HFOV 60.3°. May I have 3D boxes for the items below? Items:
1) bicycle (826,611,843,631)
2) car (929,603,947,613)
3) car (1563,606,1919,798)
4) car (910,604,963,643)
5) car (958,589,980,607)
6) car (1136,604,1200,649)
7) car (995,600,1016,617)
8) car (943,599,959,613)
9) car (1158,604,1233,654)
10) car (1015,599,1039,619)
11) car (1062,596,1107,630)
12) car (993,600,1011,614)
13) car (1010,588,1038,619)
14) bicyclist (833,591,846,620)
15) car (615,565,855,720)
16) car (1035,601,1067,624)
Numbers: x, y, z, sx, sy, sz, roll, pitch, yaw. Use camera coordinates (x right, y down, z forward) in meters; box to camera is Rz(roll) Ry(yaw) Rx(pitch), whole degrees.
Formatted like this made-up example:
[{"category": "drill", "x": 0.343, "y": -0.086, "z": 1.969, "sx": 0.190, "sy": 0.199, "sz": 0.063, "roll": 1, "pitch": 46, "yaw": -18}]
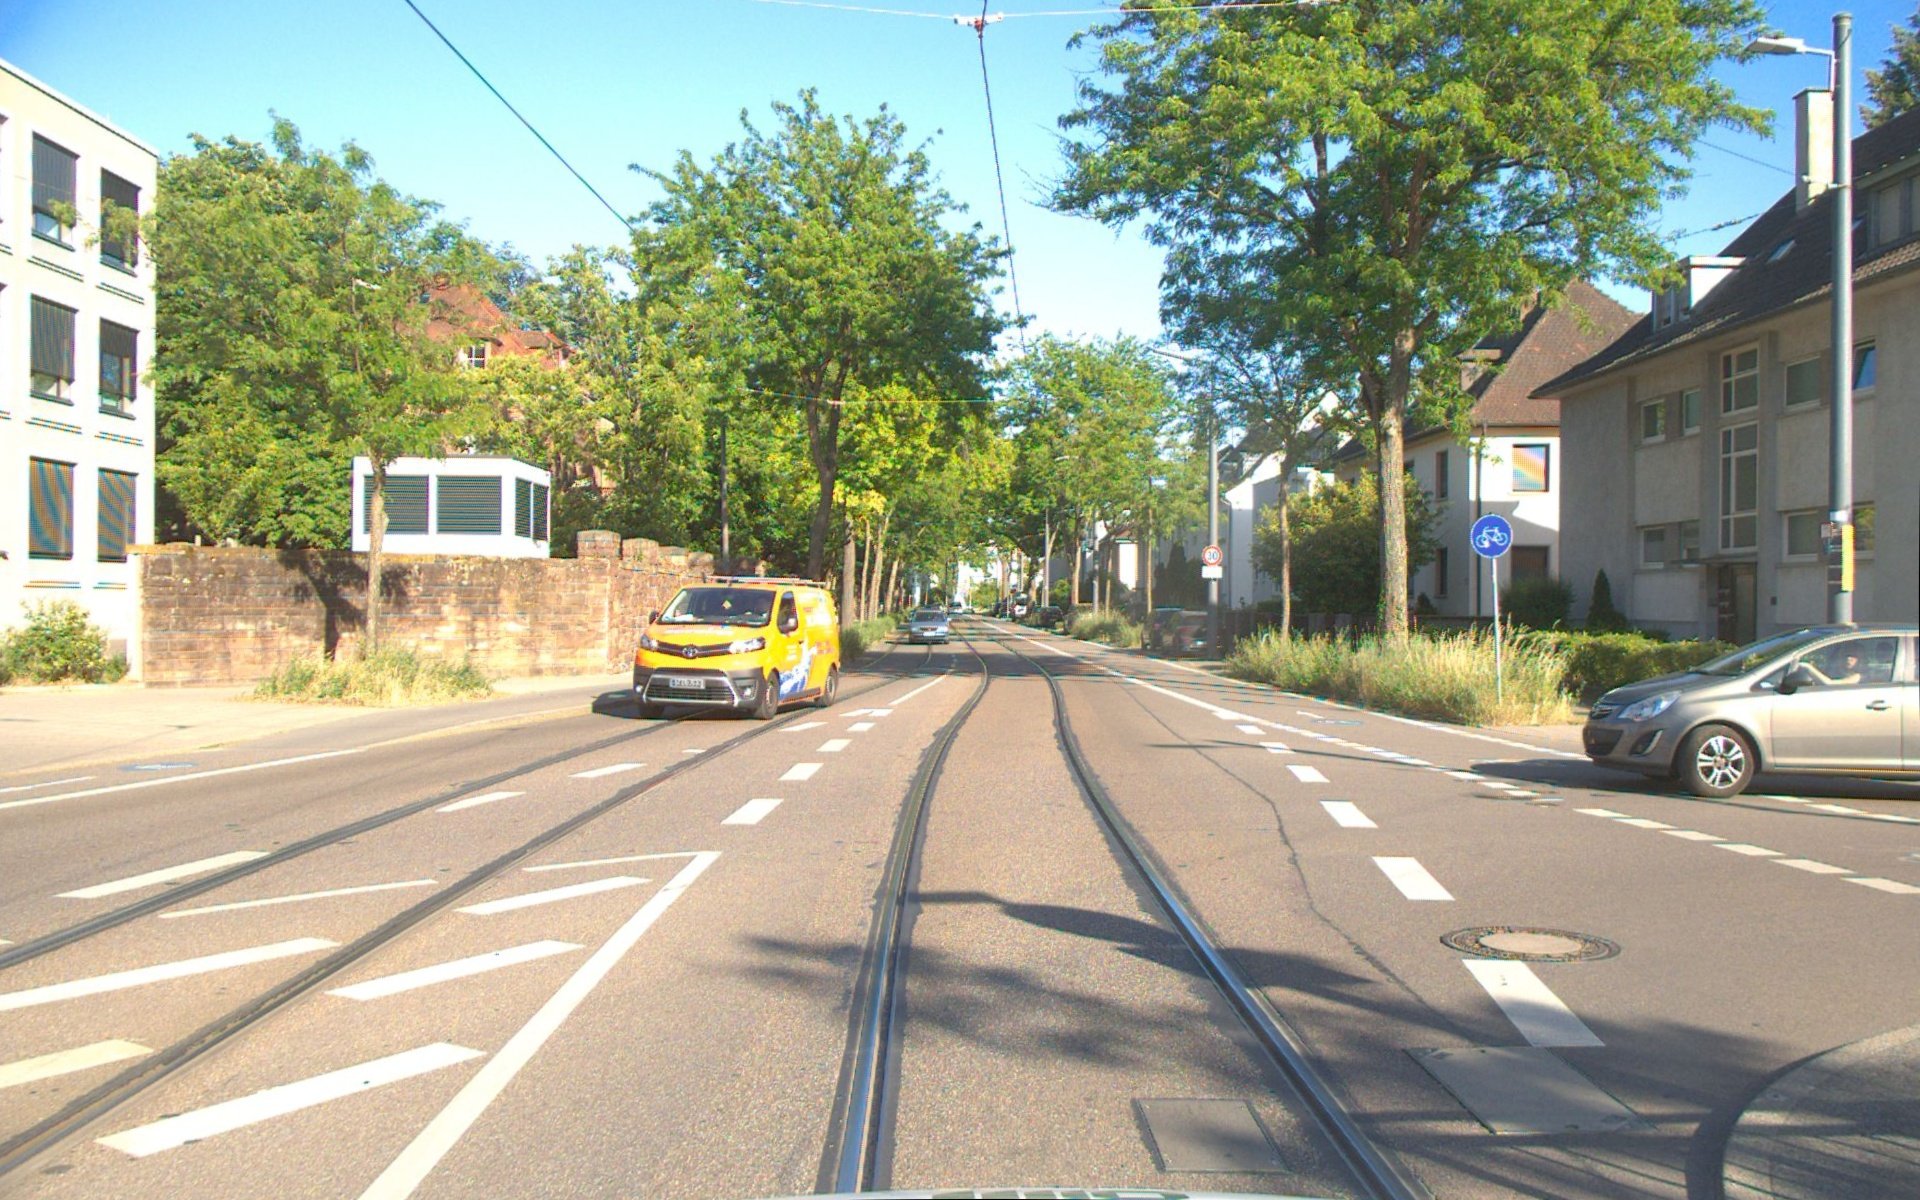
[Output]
[{"category": "bicycle", "x": -6.262, "y": 1.021, "z": 82.753, "sx": 0.696, "sy": 0.977, "sz": 2.094, "roll": 0, "pitch": 0, "yaw": 0}, {"category": "car", "x": -3.369, "y": 1.232, "z": 252.688, "sx": 1.968, "sy": 1.588, "sz": 4.377, "roll": 0, "pitch": 0, "yaw": -13}, {"category": "car", "x": 7.530, "y": 0.840, "z": 14.503, "sx": 3.902, "sy": 1.534, "sz": 1.984, "roll": 1, "pitch": 0, "yaw": 9}, {"category": "car", "x": -0.951, "y": 0.962, "z": 69.243, "sx": 1.952, "sy": 1.551, "sz": 4.581, "roll": 0, "pitch": 0, "yaw": 2}, {"category": "car", "x": 1.260, "y": -0.241, "z": 227.686, "sx": 1.960, "sy": 2.501, "sz": 4.492, "roll": 0, "pitch": 0, "yaw": -14}, {"category": "car", "x": 7.419, "y": 0.921, "z": 59.419, "sx": 1.713, "sy": 1.521, "sz": 3.995, "roll": -1, "pitch": 0, "yaw": -1}, {"category": "car", "x": 4.978, "y": 0.924, "z": 181.616, "sx": 1.962, "sy": 1.704, "sz": 4.391, "roll": -2, "pitch": 0, "yaw": -1}, {"category": "car", "x": -1.096, "y": 0.773, "z": 201.986, "sx": 1.828, "sy": 1.704, "sz": 4.172, "roll": 0, "pitch": 0, "yaw": 0}, {"category": "car", "x": 7.562, "y": 0.905, "z": 53.484, "sx": 1.713, "sy": 1.521, "sz": 4.442, "roll": -1, "pitch": 0, "yaw": -1}, {"category": "car", "x": 5.154, "y": 0.685, "z": 128.169, "sx": 1.594, "sy": 1.422, "sz": 3.644, "roll": -3, "pitch": 0, "yaw": -1}, {"category": "car", "x": 6.862, "y": 0.725, "z": 91.886, "sx": 1.953, "sy": 1.734, "sz": 4.475, "roll": -3, "pitch": 0, "yaw": -2}, {"category": "car", "x": 5.055, "y": 0.841, "z": 199.122, "sx": 1.961, "sy": 1.704, "sz": 4.394, "roll": -2, "pitch": 0, "yaw": 3}, {"category": "car", "x": 5.777, "y": 0.311, "z": 149.416, "sx": 2.200, "sy": 2.700, "sz": 5.584, "roll": 0, "pitch": 0, "yaw": -1}, {"category": "bicyclist", "x": -6.356, "y": 0.291, "z": 87.246, "sx": 0.581, "sy": 1.554, "sz": 1.061, "roll": 0, "pitch": 0, "yaw": 0}, {"category": "car", "x": -3.100, "y": 0.549, "z": 23.963, "sx": 1.951, "sy": 2.000, "sz": 4.938, "roll": 0, "pitch": 0, "yaw": 11}, {"category": "car", "x": 6.491, "y": 0.880, "z": 118.290, "sx": 1.748, "sy": 1.473, "sz": 4.299, "roll": -3, "pitch": 0, "yaw": -3}]
